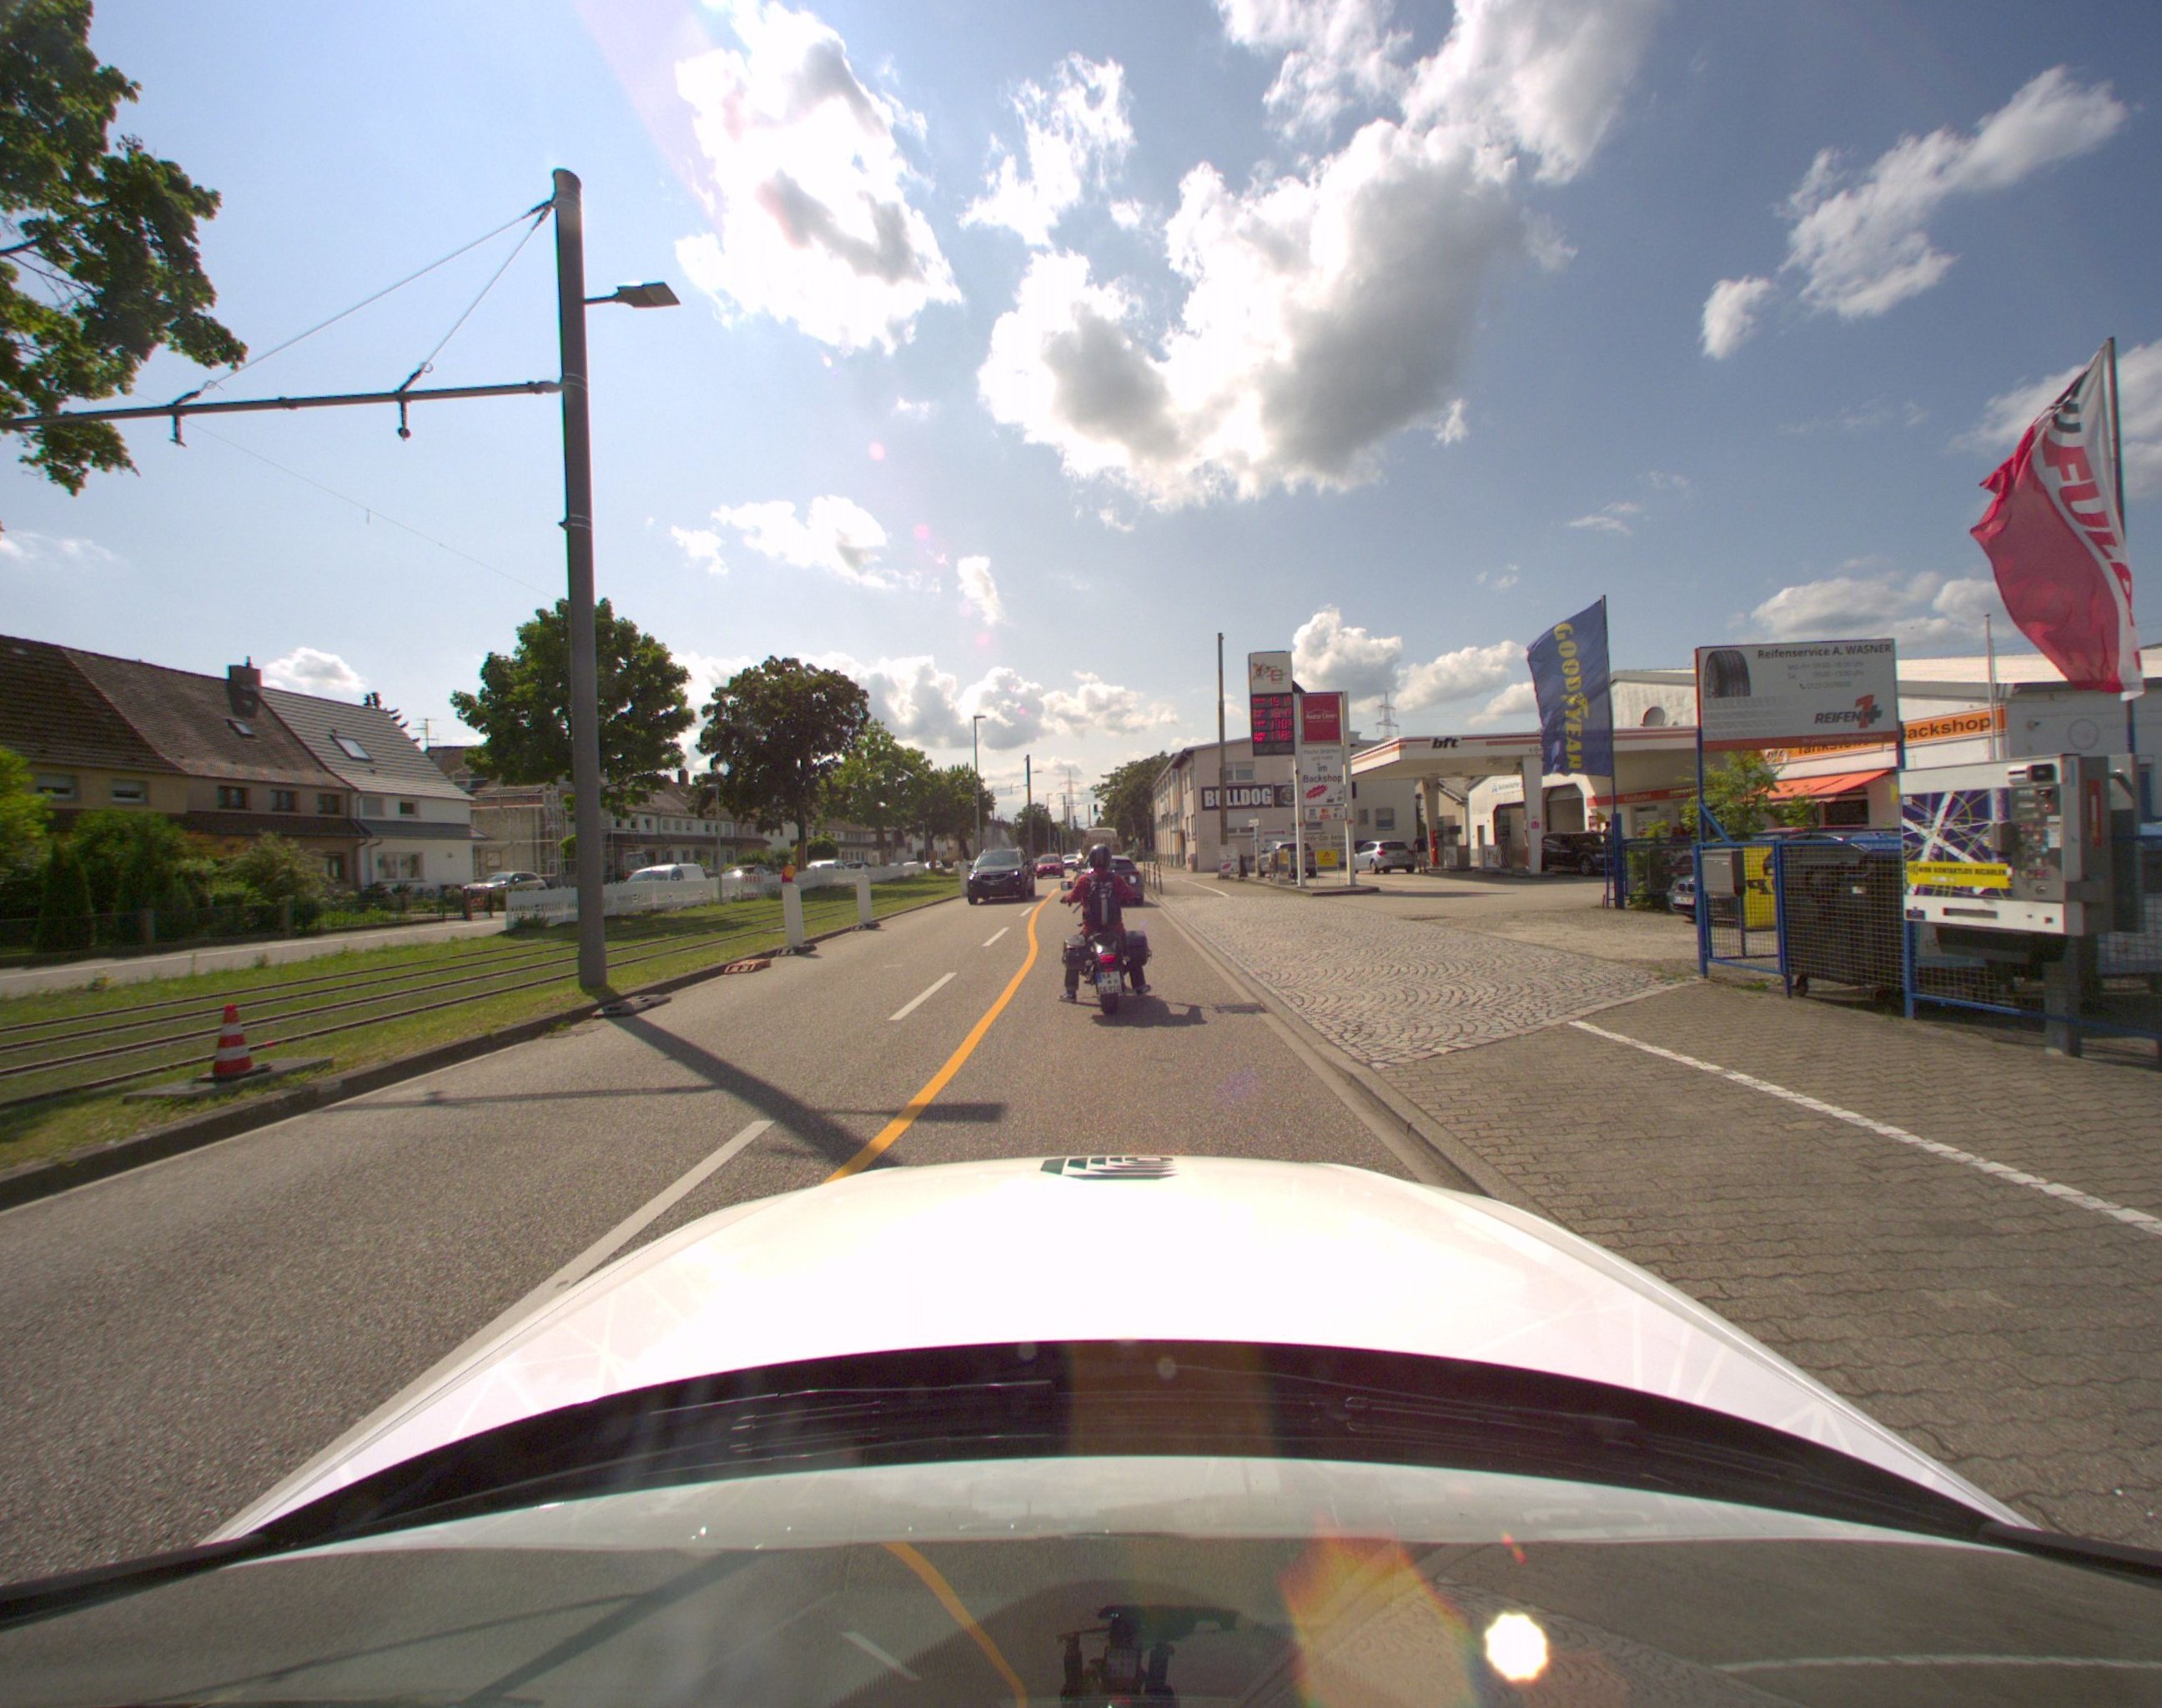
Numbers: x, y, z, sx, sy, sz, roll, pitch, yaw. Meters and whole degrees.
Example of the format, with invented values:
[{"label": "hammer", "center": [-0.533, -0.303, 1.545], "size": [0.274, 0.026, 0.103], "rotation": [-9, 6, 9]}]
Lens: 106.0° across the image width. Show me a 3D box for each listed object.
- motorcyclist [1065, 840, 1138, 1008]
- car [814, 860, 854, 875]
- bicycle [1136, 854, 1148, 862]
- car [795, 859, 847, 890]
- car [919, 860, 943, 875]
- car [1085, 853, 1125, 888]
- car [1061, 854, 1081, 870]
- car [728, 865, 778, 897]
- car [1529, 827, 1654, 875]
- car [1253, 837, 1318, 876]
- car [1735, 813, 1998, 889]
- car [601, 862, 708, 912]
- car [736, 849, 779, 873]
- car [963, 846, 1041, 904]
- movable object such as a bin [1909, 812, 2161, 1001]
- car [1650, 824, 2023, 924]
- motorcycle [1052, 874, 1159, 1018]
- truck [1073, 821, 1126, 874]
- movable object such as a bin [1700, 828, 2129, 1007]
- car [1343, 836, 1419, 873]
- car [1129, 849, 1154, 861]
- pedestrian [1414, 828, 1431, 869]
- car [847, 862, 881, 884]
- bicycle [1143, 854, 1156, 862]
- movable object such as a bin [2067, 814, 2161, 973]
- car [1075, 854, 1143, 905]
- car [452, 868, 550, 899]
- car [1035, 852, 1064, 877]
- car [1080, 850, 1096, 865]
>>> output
[{"label": "motorcyclist", "center": [0.206, 0.677, 8.192], "size": [0.695, 1.604, 0.692], "rotation": [0, -1, 1]}, {"label": "car", "center": [-27.753, 1.532, 91.591], "size": [3.973, 1.509, 1.726], "rotation": [-3, 0, 0]}, {"label": "bicycle", "center": [8.773, 0.530, 117.295], "size": [1.699, 1.172, 0.439], "rotation": [0, -1, 6]}, {"label": "car", "center": [-15.083, 1.178, 47.443], "size": [1.616, 1.651, 3.900], "rotation": [-3, -1, 2]}, {"label": "car", "center": [-13.964, 1.280, 75.962], "size": [1.516, 1.354, 3.622], "rotation": [0, -1, 2]}, {"label": "car", "center": [1.113, 0.676, 36.138], "size": [1.637, 1.444, 3.751], "rotation": [0, 0, 3]}, {"label": "car", "center": [-0.928, 0.798, 80.792], "size": [1.815, 1.445, 4.484], "rotation": [-3, -1, 1]}, {"label": "car", "center": [-15.046, 1.206, 37.440], "size": [1.067, 1.348, 2.452], "rotation": [-3, -1, 5]}, {"label": "car", "center": [17.880, -0.156, 28.795], "size": [1.676, 1.519, 4.495], "rotation": [-3, 1, 2]}, {"label": "car", "center": [9.058, 0.107, 36.430], "size": [1.938, 1.625, 4.619], "rotation": [-1, 0, 3]}, {"label": "car", "center": [17.677, -0.049, 18.487], "size": [4.118, 1.424, 1.772], "rotation": [-3, -1, 2]}, {"label": "car", "center": [-15.458, 1.141, 29.755], "size": [1.647, 1.625, 4.002], "rotation": [-3, -1, 2]}, {"label": "car", "center": [-27.882, 0.621, 70.352], "size": [1.986, 2.014, 4.001], "rotation": [0, -1, 1]}, {"label": "car", "center": [-2.529, 0.638, 27.031], "size": [1.788, 1.690, 4.226], "rotation": [-3, 0, 4]}, {"label": "movable object such as a bin", "center": [8.766, 0.396, 6.992], "size": [1.526, 1.410, 1.765], "rotation": [0, -1, 1]}, {"label": "car", "center": [11.483, 0.302, 12.657], "size": [4.029, 1.408, 1.651], "rotation": [-1, 0, 8]}, {"label": "motorcycle", "center": [0.257, 0.843, 8.427], "size": [0.939, 1.200, 2.473], "rotation": [0, 0, 2]}, {"label": "truck", "center": [1.327, -0.343, 52.647], "size": [2.954, 3.173, 7.773], "rotation": [0, -1, 4]}, {"label": "movable object such as a bin", "center": [6.967, 0.490, 7.030], "size": [1.956, 1.347, 1.708], "rotation": [0, -1, 0]}, {"label": "car", "center": [13.458, 0.041, 36.840], "size": [1.687, 1.471, 4.421], "rotation": [-3, -1, -1]}, {"label": "car", "center": [10.128, 0.151, 136.199], "size": [4.022, 1.926, 1.781], "rotation": [0, -1, -43]}, {"label": "pedestrian", "center": [14.680, -0.230, 35.006], "size": [0.495, 1.776, 0.577], "rotation": [0, -1, -1]}, {"label": "car", "center": [-14.635, 1.293, 55.089], "size": [1.345, 1.377, 3.115], "rotation": [-3, -1, 2]}, {"label": "bicycle", "center": [9.758, 0.618, 115.966], "size": [1.699, 1.172, 0.439], "rotation": [0, -1, 6]}, {"label": "movable object such as a bin", "center": [10.327, 0.342, 7.014], "size": [1.526, 1.410, 1.765], "rotation": [0, -1, 1]}, {"label": "car", "center": [0.748, 0.715, 24.513], "size": [1.727, 1.403, 4.082], "rotation": [0, 0, -3]}, {"label": "car", "center": [-27.275, 1.373, 38.461], "size": [1.528, 1.275, 4.122], "rotation": [-3, -1, 2]}, {"label": "car", "center": [-1.944, 0.653, 51.643], "size": [1.572, 1.469, 3.721], "rotation": [0, -1, 2]}, {"label": "car", "center": [0.948, 0.470, 102.041], "size": [1.818, 1.666, 4.463], "rotation": [-3, -1, 1]}]
